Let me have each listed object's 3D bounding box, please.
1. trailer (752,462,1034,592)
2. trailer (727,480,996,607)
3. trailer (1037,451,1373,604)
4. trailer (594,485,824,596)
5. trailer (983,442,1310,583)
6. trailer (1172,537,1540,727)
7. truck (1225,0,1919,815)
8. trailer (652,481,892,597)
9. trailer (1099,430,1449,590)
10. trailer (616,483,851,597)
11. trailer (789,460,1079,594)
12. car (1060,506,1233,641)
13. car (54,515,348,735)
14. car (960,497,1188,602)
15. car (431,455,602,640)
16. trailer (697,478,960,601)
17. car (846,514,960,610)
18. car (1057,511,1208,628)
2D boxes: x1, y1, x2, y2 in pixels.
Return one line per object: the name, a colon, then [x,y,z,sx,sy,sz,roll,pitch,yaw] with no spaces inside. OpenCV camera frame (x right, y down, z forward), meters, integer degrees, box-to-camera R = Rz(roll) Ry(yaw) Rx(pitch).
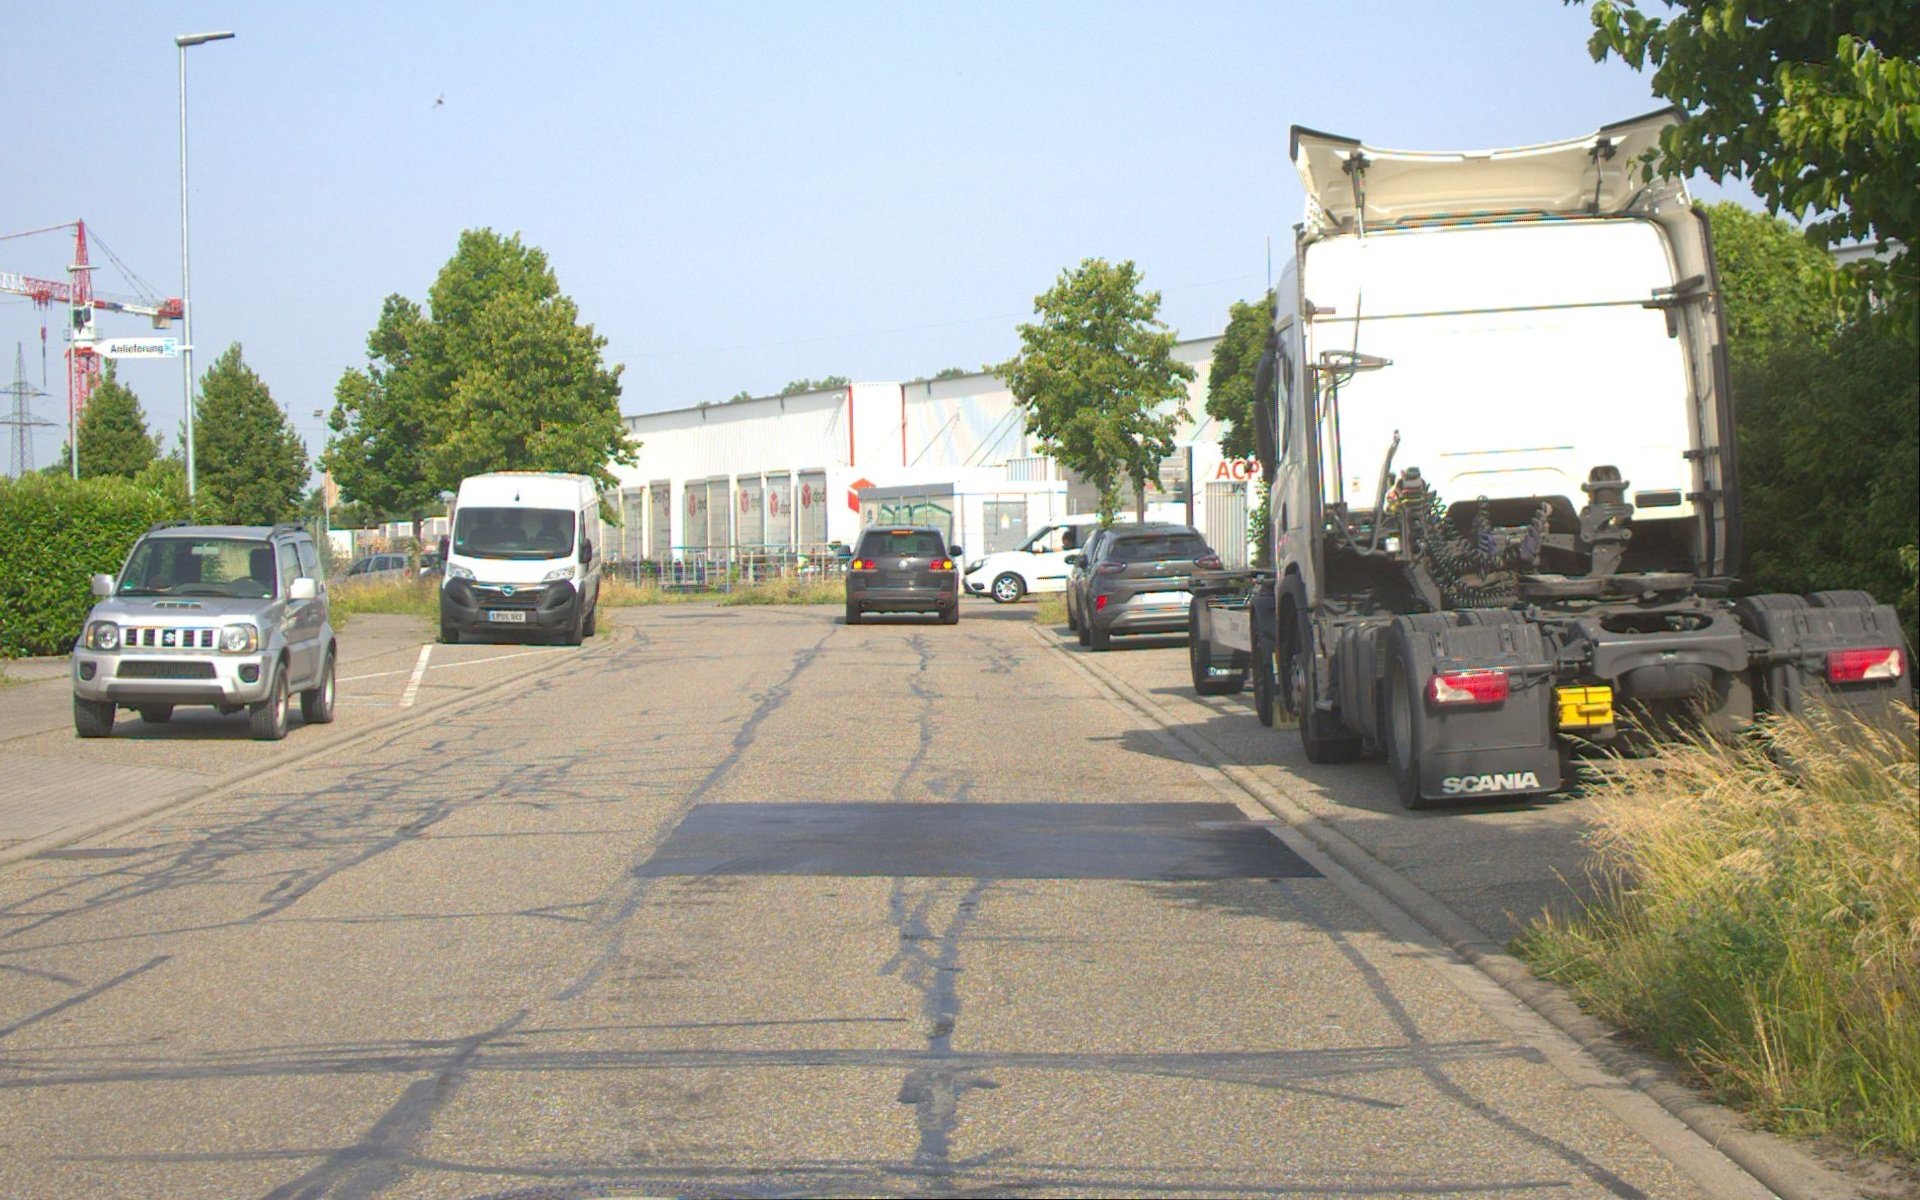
trailer: [-2.135,-2.300,110.144,8.534,3.880,2.776,1,1,-24]
trailer: [-3.235,-1.837,112.951,8.305,3.880,2.776,1,1,-24]
trailer: [6.557,-1.948,91.809,8.534,3.880,2.776,-2,1,-23]
trailer: [-9.327,-2.183,127.980,7.960,3.880,2.776,1,1,-24]
trailer: [5.178,-2.357,95.005,8.730,3.748,2.791,0,0,-24]
trailer: [2.968,0.152,27.513,1.938,1.231,7.452,-2,1,-1]
truck: [3.349,-1.043,19.933,2.691,3.950,6.049,-3,1,-3]
trailer: [-6.693,-2.153,122.363,7.960,3.880,2.776,1,1,-24]
trailer: [8.082,-2.288,88.276,8.534,3.881,2.776,-1,-2,-22]
trailer: [-8.210,-2.161,124.993,7.960,3.880,2.776,1,1,-24]
trailer: [-0.797,-2.250,107.250,8.534,3.880,2.776,1,1,-24]
car: [2.321,-0.334,43.804,1.880,1.568,4.113,-2,0,-1]
car: [-6.082,0.149,27.906,1.597,1.645,3.644,-1,1,-1]
car: [2.356,-1.054,72.103,4.609,2.103,2.128,-1,0,-2]
car: [-6.697,-0.808,52.556,2.102,2.586,6.505,2,1,-4]
trailer: [-4.420,-2.020,115.775,8.305,3.880,2.776,1,1,-24]
car: [-0.970,-0.651,59.284,1.880,1.581,4.113,1,0,-1]
car: [2.492,-0.443,50.830,1.880,1.568,5.118,-2,0,0]
